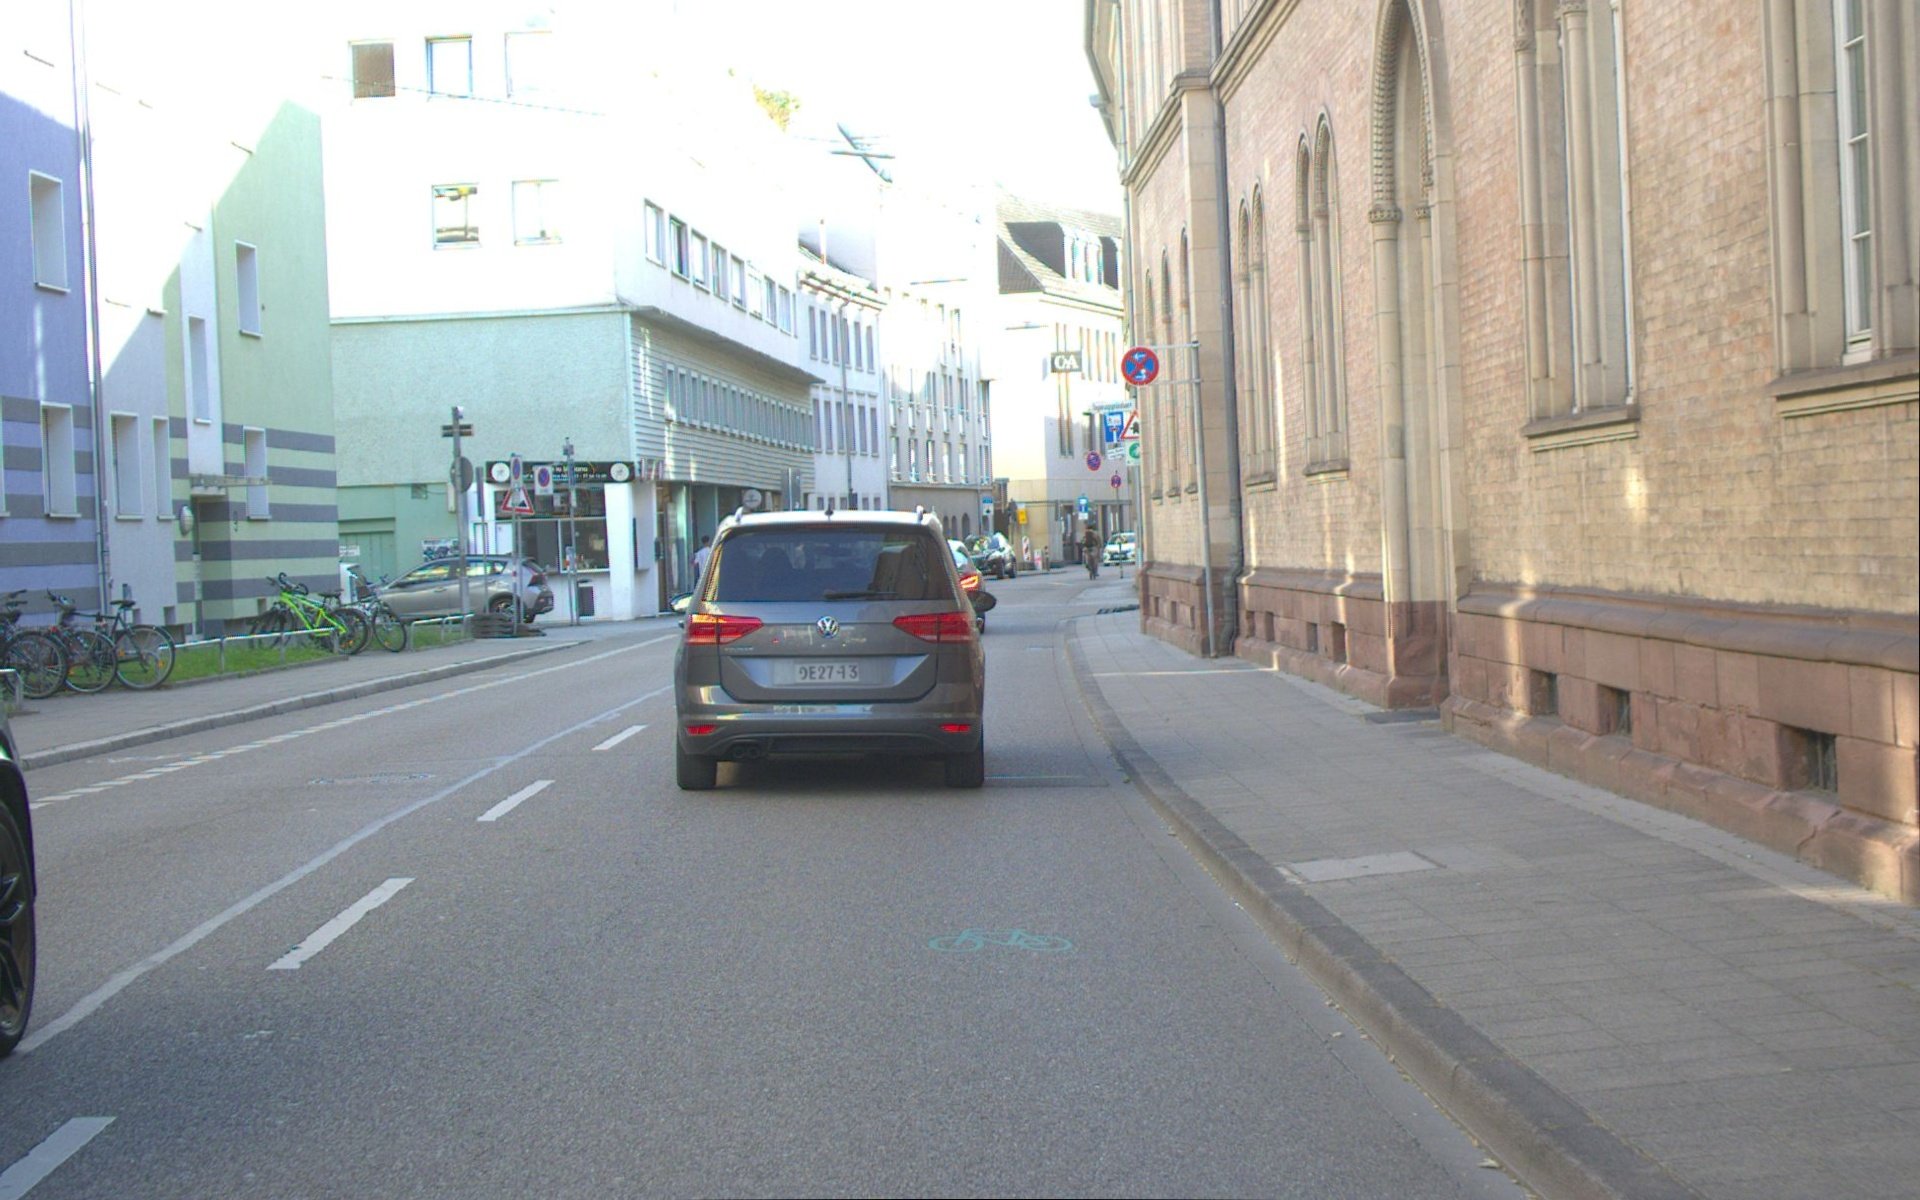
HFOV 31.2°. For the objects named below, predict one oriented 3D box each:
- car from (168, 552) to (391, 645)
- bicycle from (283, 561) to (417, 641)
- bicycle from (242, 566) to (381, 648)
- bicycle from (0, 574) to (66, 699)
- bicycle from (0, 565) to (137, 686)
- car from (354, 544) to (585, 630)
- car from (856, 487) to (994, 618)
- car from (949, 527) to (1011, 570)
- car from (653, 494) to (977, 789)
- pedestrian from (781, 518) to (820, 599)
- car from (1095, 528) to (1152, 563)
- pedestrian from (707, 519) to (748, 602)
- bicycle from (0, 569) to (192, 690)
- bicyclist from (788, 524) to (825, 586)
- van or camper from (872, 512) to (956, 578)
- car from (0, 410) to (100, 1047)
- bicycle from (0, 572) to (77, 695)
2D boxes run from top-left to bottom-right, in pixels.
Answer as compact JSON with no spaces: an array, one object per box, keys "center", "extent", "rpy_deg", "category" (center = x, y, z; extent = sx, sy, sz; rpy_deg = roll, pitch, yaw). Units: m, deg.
[{"center":[-12.128,-0.038,61.382],"extent":[3.501,1.438,1.813],"rpy_deg":[-3,1,3],"category":"car"},{"center":[-9.068,0.017,51.162],"extent":[1.928,1.175,0.613],"rpy_deg":[0,0,-7],"category":"bicycle"},{"center":[-9.375,0.101,49.702],"extent":[1.928,1.175,0.614],"rpy_deg":[0,0,-14],"category":"bicycle"},{"center":[-9.981,0.387,35.071],"extent":[1.579,1.237,0.384],"rpy_deg":[-2,1,-1],"category":"bicycle"},{"center":[-9.689,0.276,36.735],"extent":[1.639,1.237,0.467],"rpy_deg":[-2,1,-1],"category":"bicycle"},{"center":[-9.546,-0.266,67.167],"extent":[4.098,1.438,1.947],"rpy_deg":[-3,1,3],"category":"car"},{"center":[-0.526,-0.750,53.061],"extent":[1.993,1.875,4.000],"rpy_deg":[-2,1,0],"category":"car"},{"center":[0.758,-1.903,126.801],"extent":[1.866,1.463,3.833],"rpy_deg":[-2,1,6],"category":"car"},{"center":[-0.816,0.192,20.843],"extent":[1.762,1.601,4.000],"rpy_deg":[1,1,-1],"category":"car"},{"center":[-3.646,-0.954,78.496],"extent":[0.556,1.823,0.730],"rpy_deg":[-2,1,25],"category":"pedestrian"},{"center":[7.469,-2.505,156.834],"extent":[1.735,1.463,3.997],"rpy_deg":[-2,1,16],"category":"car"},{"center":[-5.177,-0.878,76.450],"extent":[0.556,1.823,0.730],"rpy_deg":[-2,1,25],"category":"pedestrian"},{"center":[-9.461,0.318,37.451],"extent":[2.008,1.227,0.623],"rpy_deg":[-2,1,-1],"category":"bicycle"},{"center":[-3.887,-1.142,87.274],"extent":[0.831,1.556,0.759],"rpy_deg":[-2,1,1],"category":"bicyclist"},{"center":[-1.458,-1.782,110.810],"extent":[1.994,2.007,4.482],"rpy_deg":[-2,1,7],"category":"van or camper"},{"center":[-3.699,0.448,8.463],"extent":[1.900,1.828,5.095],"rpy_deg":[-4,1,-2],"category":"car"},{"center":[-9.986,0.356,35.488],"extent":[1.584,1.237,0.449],"rpy_deg":[-2,1,-1],"category":"bicycle"}]
